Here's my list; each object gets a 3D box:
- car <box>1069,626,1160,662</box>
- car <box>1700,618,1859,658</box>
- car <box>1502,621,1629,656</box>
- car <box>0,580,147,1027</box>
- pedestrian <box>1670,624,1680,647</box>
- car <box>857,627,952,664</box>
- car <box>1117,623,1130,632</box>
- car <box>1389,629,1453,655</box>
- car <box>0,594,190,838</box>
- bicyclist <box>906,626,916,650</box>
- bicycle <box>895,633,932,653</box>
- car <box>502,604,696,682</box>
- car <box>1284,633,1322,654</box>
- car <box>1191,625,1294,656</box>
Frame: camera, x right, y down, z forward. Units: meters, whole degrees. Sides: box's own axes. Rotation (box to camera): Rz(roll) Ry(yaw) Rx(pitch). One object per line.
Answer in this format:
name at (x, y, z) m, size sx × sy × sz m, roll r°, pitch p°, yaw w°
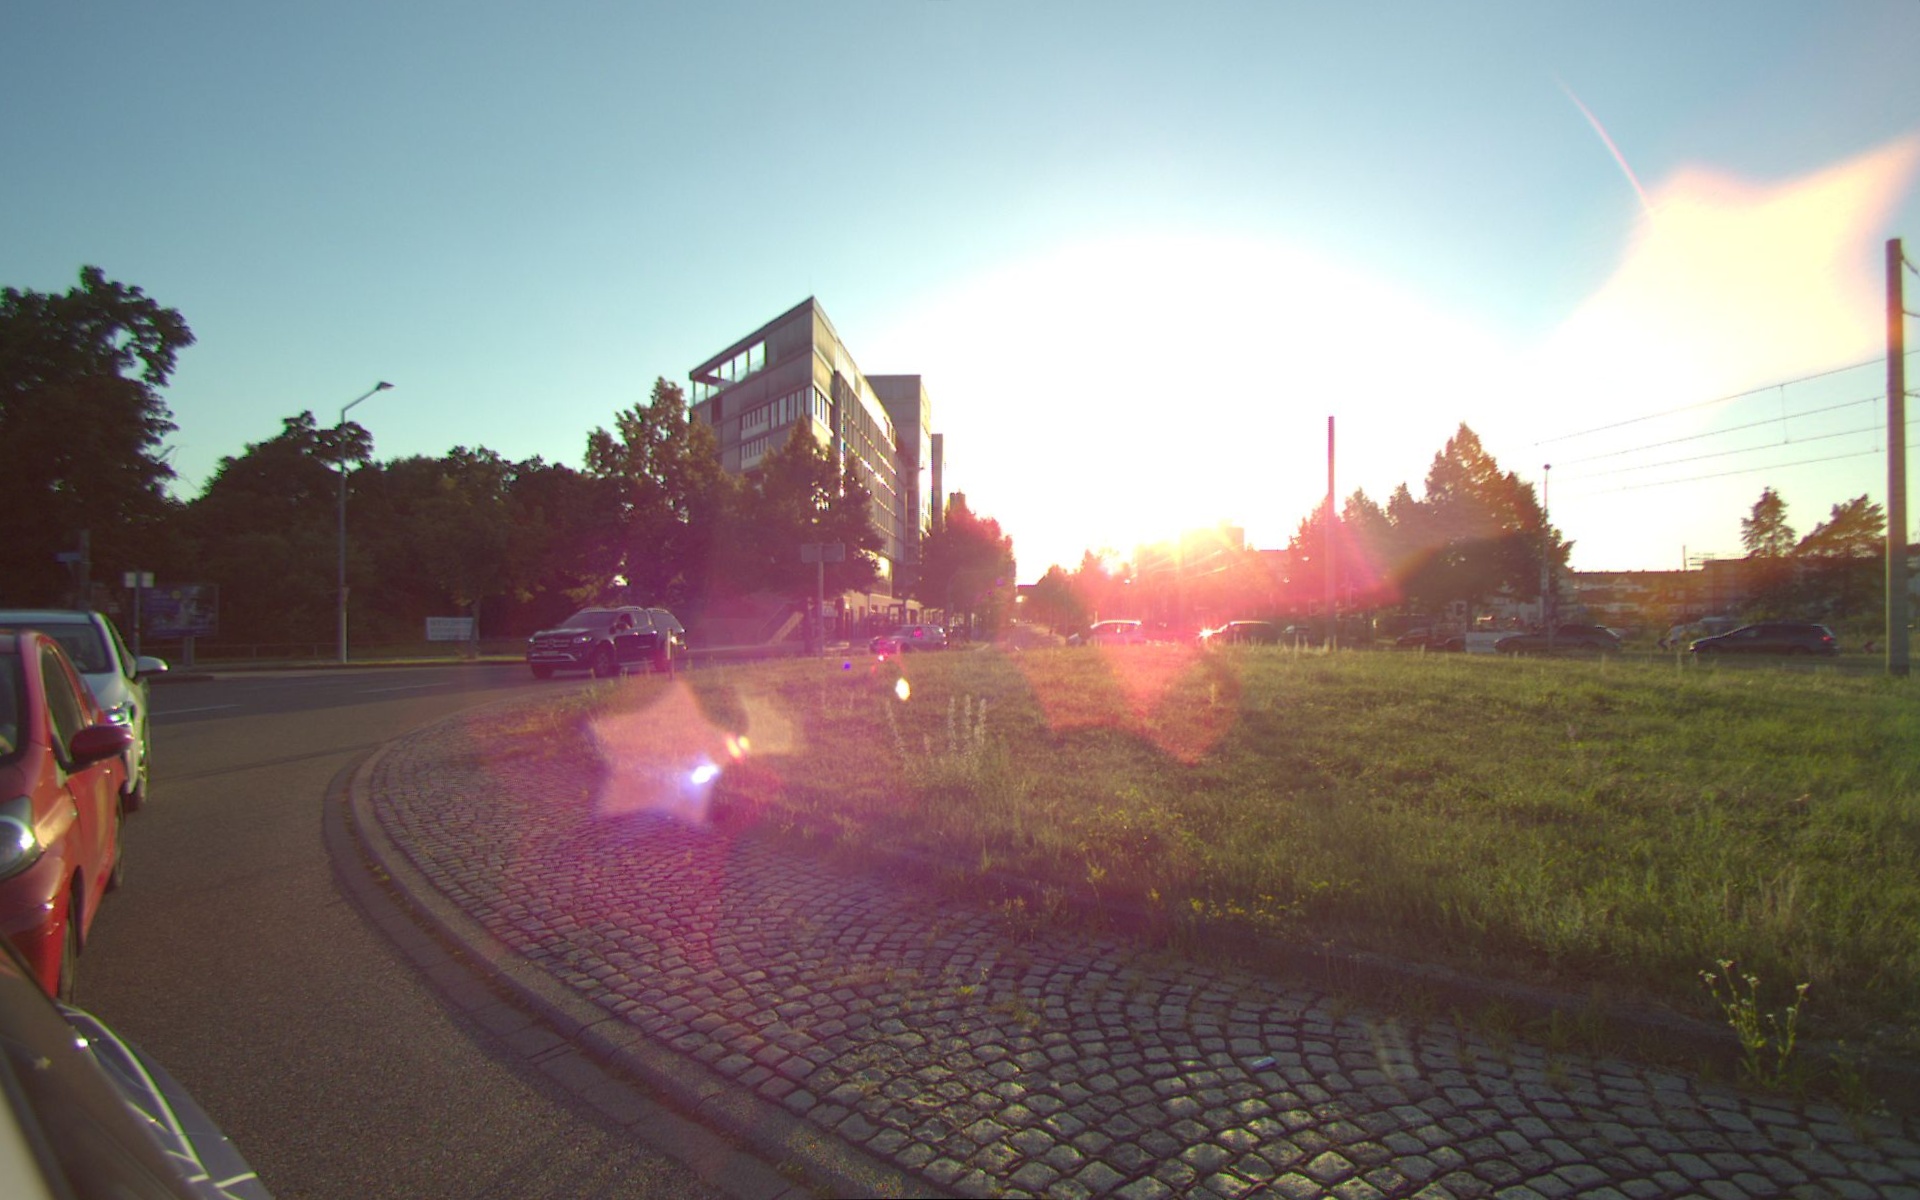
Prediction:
car at (7.236, 2.047, 47.685) m, size 3.831 × 1.592 × 1.958 m, roll 0°, pitch -1°, yaw -7°
car at (30.630, 1.393, 37.911) m, size 1.969 × 1.386 × 4.389 m, roll 1°, pitch -2°, yaw -42°
car at (25.728, 1.604, 43.097) m, size 4.351 × 1.386 × 1.972 m, roll -1°, pitch -2°, yaw 42°
car at (-4.804, 0.689, 4.476) m, size 1.662 × 1.431 × 4.009 m, roll 1°, pitch -2°, yaw -36°
pedestrian at (40.925, 2.051, 57.922) m, size 0.397 × 1.318 × 0.423 m, roll -1°, pitch -2°, yaw 41°
car at (-2.447, 2.008, 45.469) m, size 1.830 × 1.571 × 4.511 m, roll -1°, pitch -2°, yaw 37°
car at (35.101, 5.821, 217.160) m, size 1.972 × 1.737 × 4.000 m, roll -1°, pitch 0°, yaw 0°
car at (28.276, 2.578, 62.175) m, size 1.614 × 1.511 × 3.502 m, roll 0°, pitch -1°, yaw -20°
car at (-7.765, 0.812, 8.350) m, size 1.966 × 1.618 × 4.209 m, roll 1°, pitch -1°, yaw -34°
bicyclist at (-3.071, 2.357, 62.982) m, size 0.602 × 1.451 × 0.692 m, roll 0°, pitch -1°, yaw -2°
bicycle at (-2.891, 2.681, 62.960) m, size 2.315 × 1.254 × 0.742 m, roll 0°, pitch -1°, yaw 0°
car at (-9.364, 1.137, 26.814) m, size 1.985 × 1.827 × 5.270 m, roll -2°, pitch -3°, yaw 20°
car at (29.347, 3.714, 86.803) m, size 1.975 × 1.719 × 4.708 m, roll 0°, pitch -1°, yaw 5°
car at (13.363, 1.895, 48.018) m, size 4.324 × 1.386 × 1.999 m, roll 0°, pitch -1°, yaw 2°
